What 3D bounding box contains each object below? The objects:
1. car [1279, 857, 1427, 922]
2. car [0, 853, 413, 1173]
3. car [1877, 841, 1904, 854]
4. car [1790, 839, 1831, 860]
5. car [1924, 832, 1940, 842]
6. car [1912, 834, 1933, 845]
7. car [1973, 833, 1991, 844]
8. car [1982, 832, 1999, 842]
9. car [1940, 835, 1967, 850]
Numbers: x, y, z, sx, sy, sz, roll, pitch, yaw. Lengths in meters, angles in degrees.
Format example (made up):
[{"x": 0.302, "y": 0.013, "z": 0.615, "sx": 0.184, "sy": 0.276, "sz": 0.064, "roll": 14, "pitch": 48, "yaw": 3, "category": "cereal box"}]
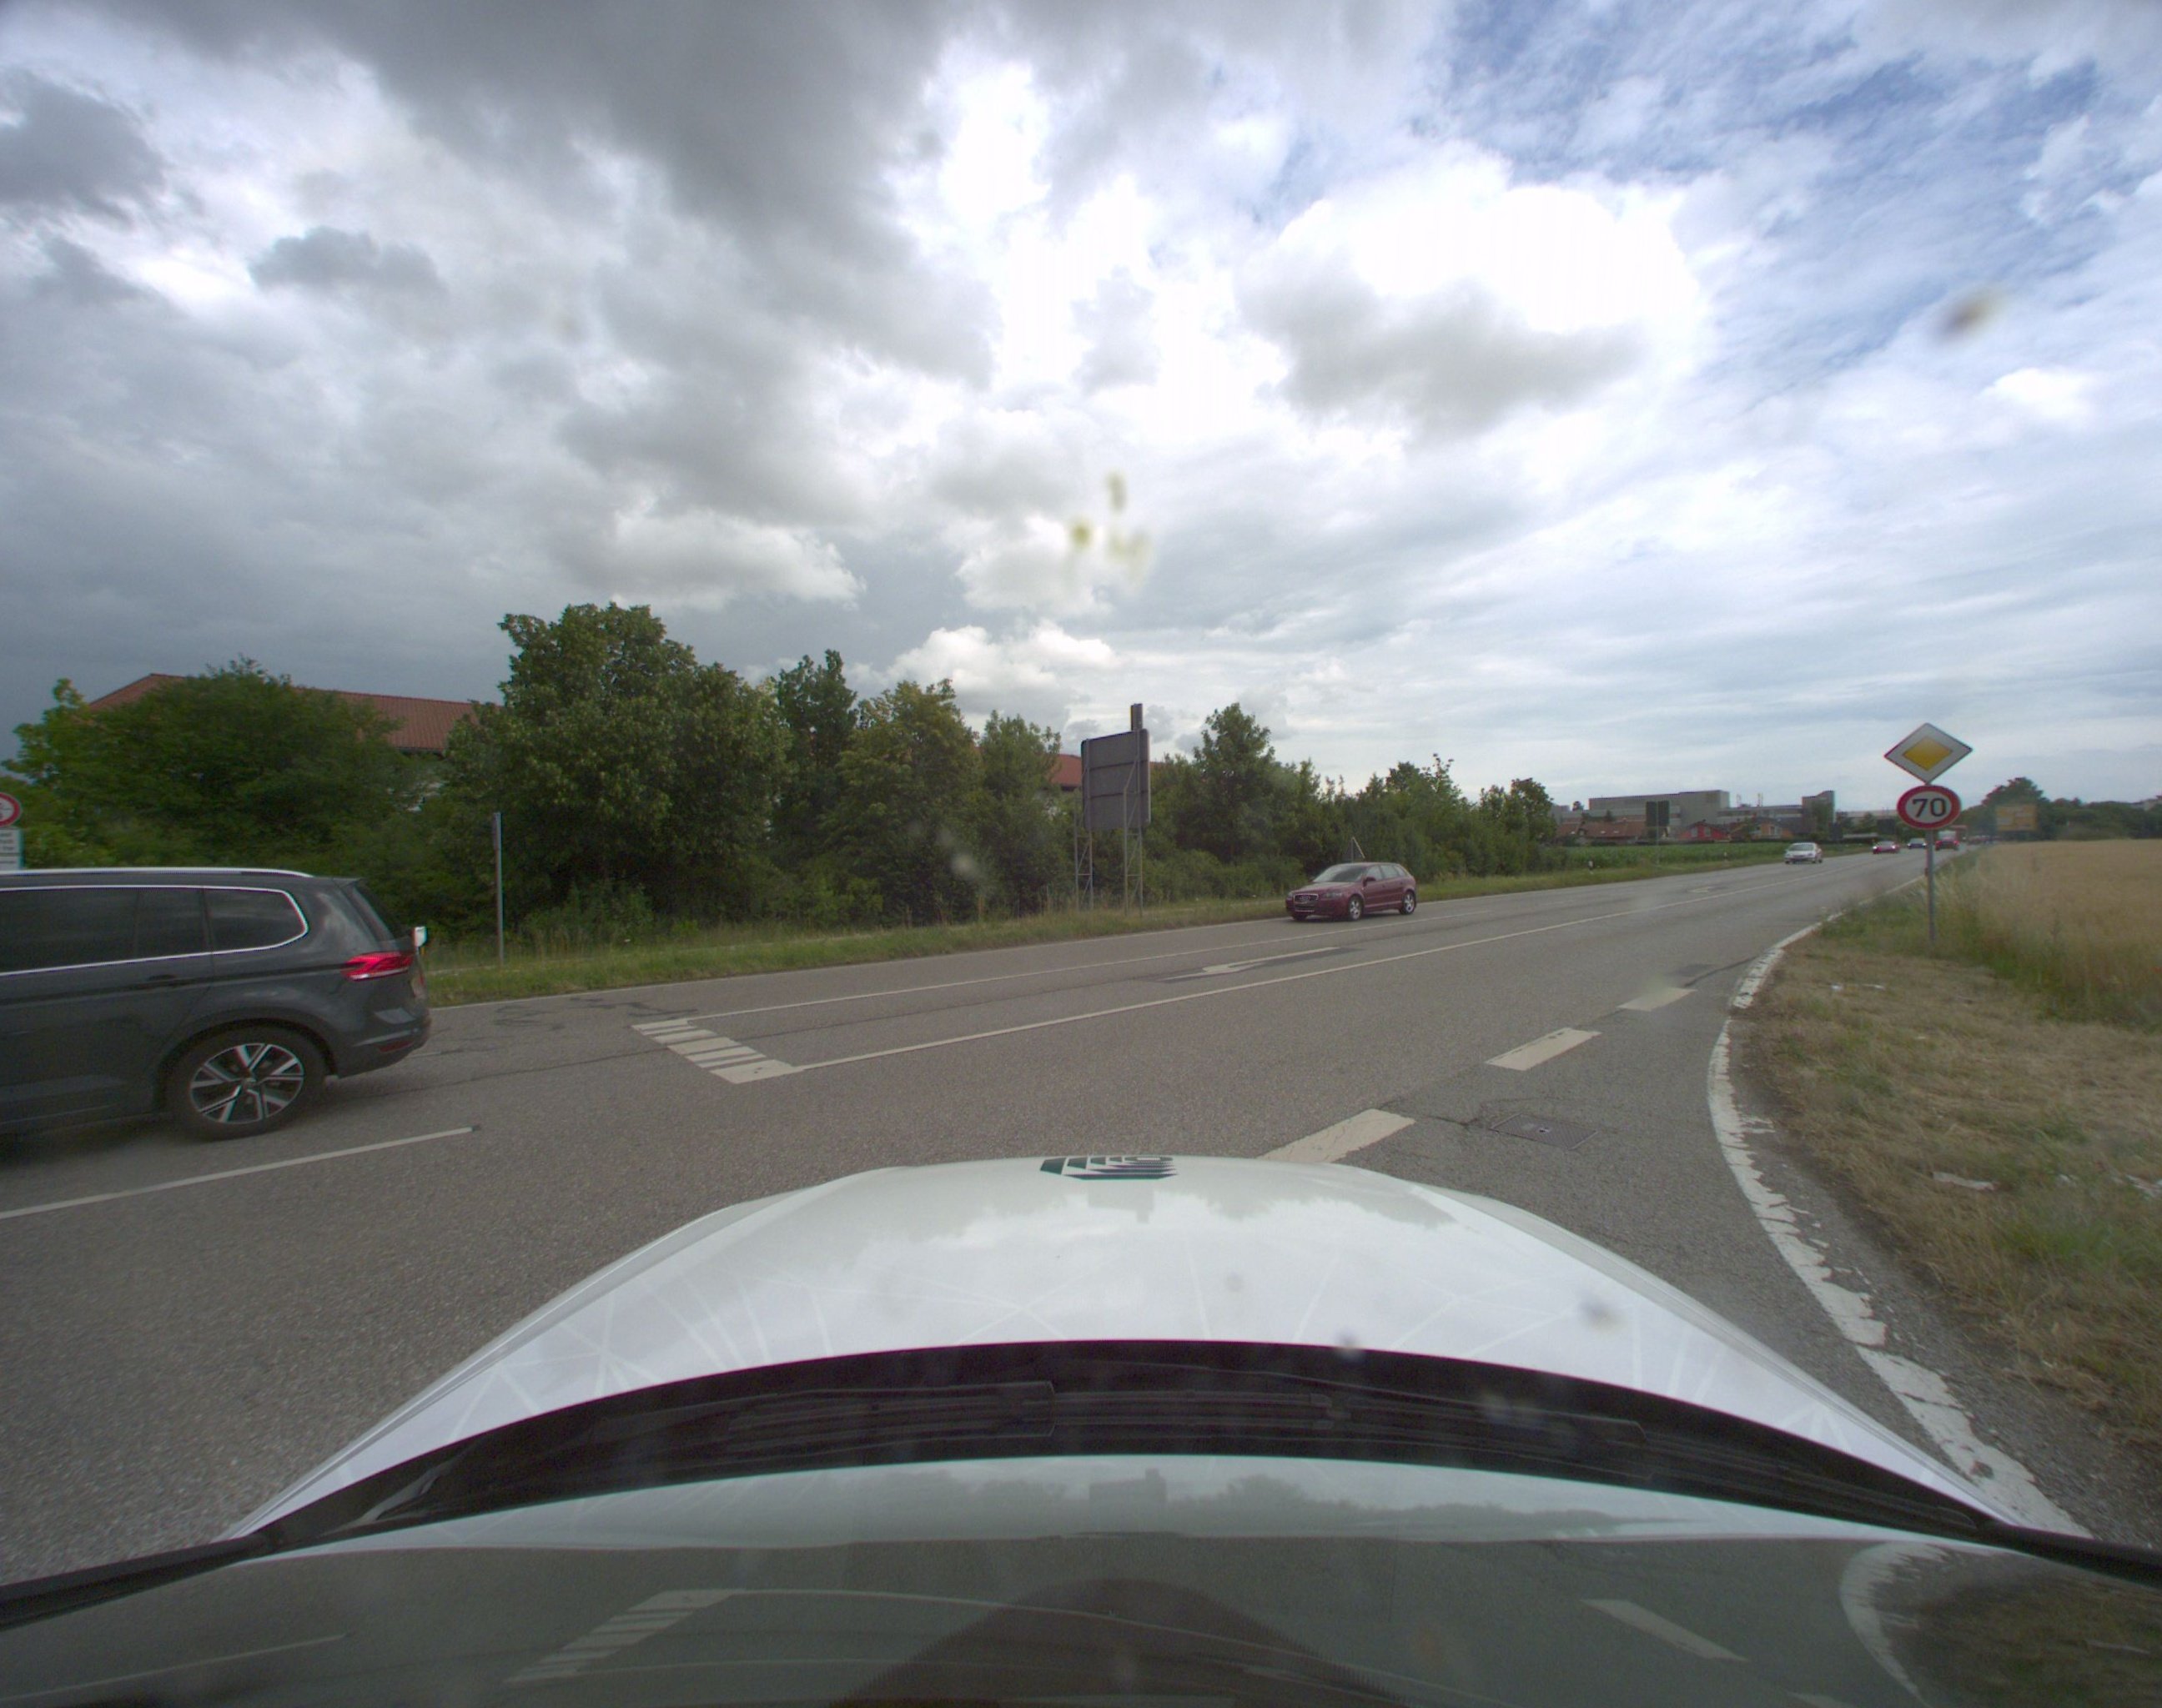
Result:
[{"x": 7.064, "y": 0.869, "z": 20.966, "sx": 4.110, "sy": 1.402, "sz": 1.658, "roll": -2, "pitch": -1, "yaw": -40, "category": "car"}, {"x": -6.655, "y": 0.897, "z": 4.659, "sx": 4.313, "sy": 1.658, "sz": 1.733, "roll": -2, "pitch": -1, "yaw": -41, "category": "car"}, {"x": 86.362, "y": -0.684, "z": 86.847, "sx": 4.234, "sy": 1.241, "sz": 1.755, "roll": -1, "pitch": -1, "yaw": -42, "category": "car"}, {"x": 53.067, "y": -0.336, "z": 59.216, "sx": 3.956, "sy": 1.431, "sz": 1.714, "roll": -1, "pitch": -2, "yaw": -41, "category": "car"}, {"x": 167.265, "y": -3.348, "z": 160.058, "sx": 4.700, "sy": 1.699, "sz": 1.976, "roll": -1, "pitch": 0, "yaw": -41, "category": "car"}, {"x": 114.907, "y": -2.009, "z": 111.201, "sx": 4.325, "sy": 1.429, "sz": 1.654, "roll": -1, "pitch": -2, "yaw": -41, "category": "car"}, {"x": 151.457, "y": -2.648, "z": 136.889, "sx": 4.019, "sy": 1.728, "sz": 1.843, "roll": -2, "pitch": 0, "yaw": -38, "category": "car"}, {"x": 166.450, "y": -3.100, "z": 149.013, "sx": 4.019, "sy": 1.728, "sz": 1.843, "roll": -2, "pitch": 0, "yaw": -38, "category": "car"}, {"x": 101.533, "y": -1.331, "z": 94.769, "sx": 4.019, "sy": 1.566, "sz": 1.843, "roll": -2, "pitch": 0, "yaw": -38, "category": "car"}]
